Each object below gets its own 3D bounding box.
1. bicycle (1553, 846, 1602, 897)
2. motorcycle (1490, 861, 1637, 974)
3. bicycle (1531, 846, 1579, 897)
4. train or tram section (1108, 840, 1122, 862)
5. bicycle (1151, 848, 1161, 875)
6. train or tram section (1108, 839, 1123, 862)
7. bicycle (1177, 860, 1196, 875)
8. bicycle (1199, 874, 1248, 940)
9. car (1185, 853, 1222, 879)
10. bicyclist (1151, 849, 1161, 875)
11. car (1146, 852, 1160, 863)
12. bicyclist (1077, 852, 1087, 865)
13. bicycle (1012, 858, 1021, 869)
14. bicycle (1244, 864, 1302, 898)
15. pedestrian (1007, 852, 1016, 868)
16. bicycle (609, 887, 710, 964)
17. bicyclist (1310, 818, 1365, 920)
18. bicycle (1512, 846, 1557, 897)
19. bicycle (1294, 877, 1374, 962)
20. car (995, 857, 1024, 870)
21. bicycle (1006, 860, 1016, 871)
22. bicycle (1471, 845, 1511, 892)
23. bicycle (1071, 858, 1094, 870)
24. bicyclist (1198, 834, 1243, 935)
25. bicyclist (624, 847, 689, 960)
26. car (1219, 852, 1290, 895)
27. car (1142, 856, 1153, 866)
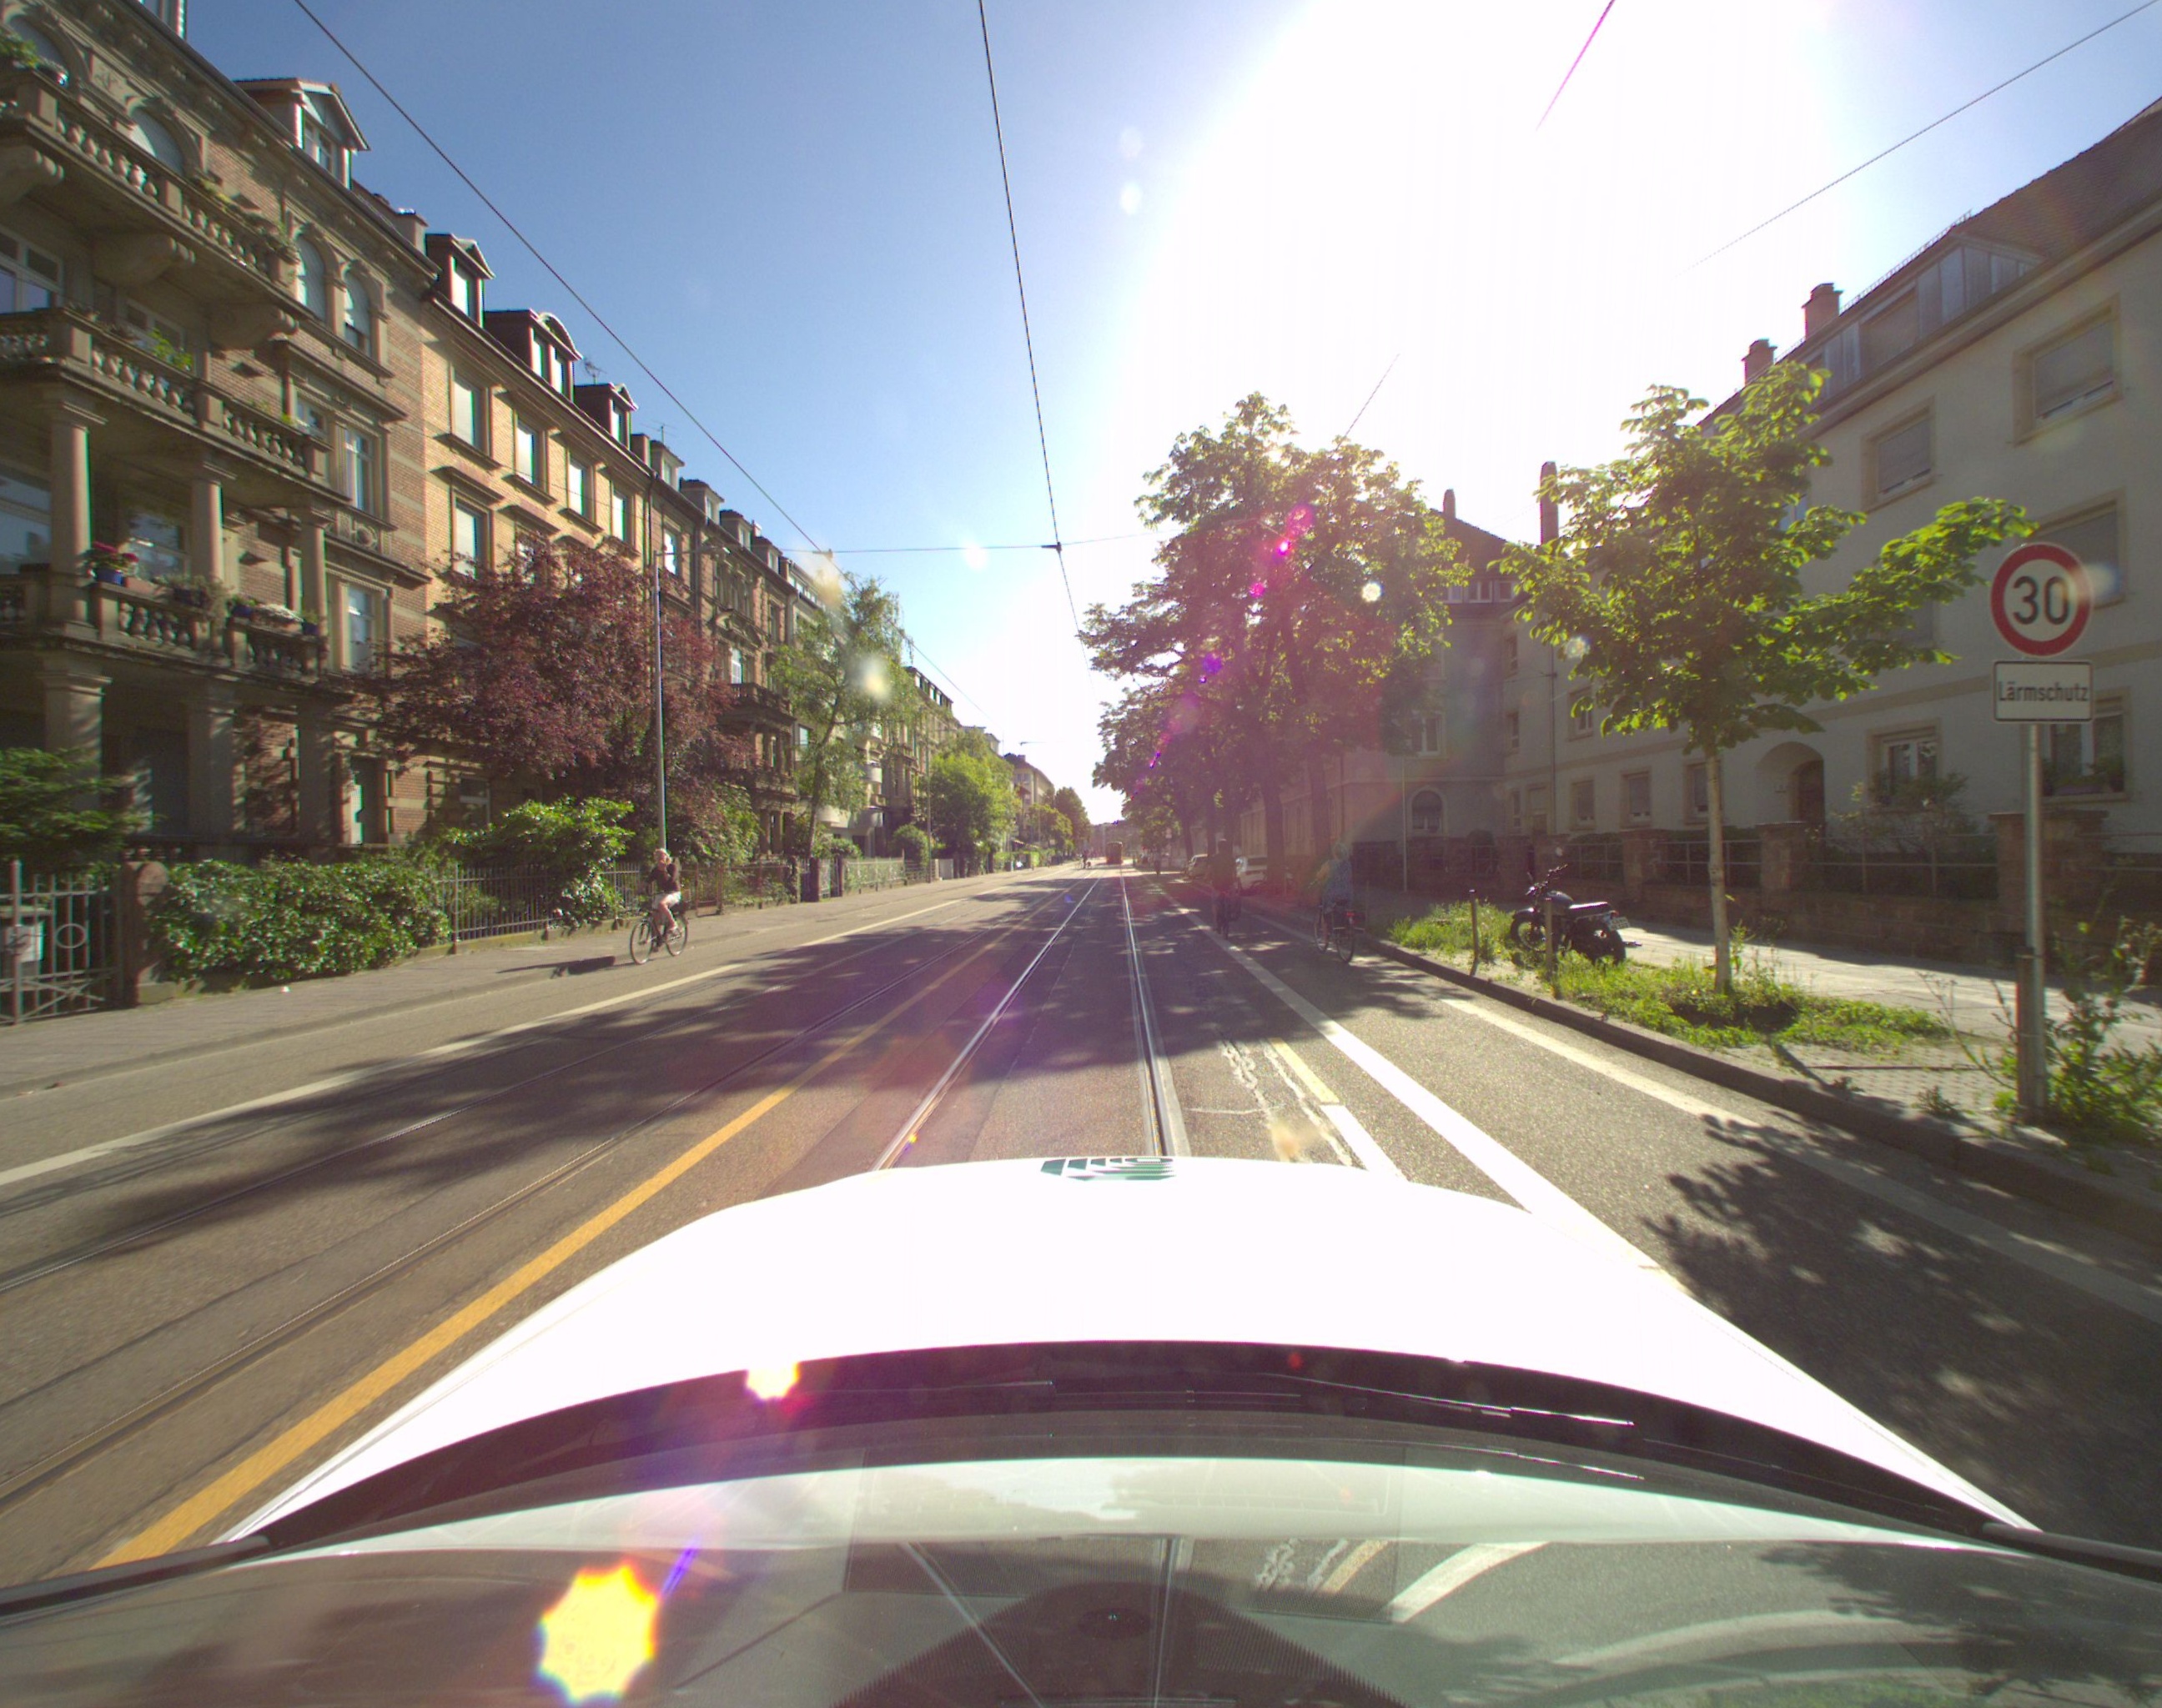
[{"bbox_3d":[12.363,0.419,20.293,0.433,1.223,1.374,0,0,3],"label":"bicycle"},{"bbox_3d":[5.847,0.711,10.002,0.494,1.190,1.859,-5,1,-5],"label":"motorcycle"},{"bbox_3d":[11.812,0.413,20.324,0.433,1.223,1.374,0,0,3],"label":"bicycle"},{"bbox_3d":[5.551,-0.508,131.819,2.145,3.431,6.615,0,0,2],"label":"train or tram section"},{"bbox_3d":[5.216,0.487,56.970,0.660,1.859,2.262,0,0,4],"label":"bicycle"},{"bbox_3d":[5.293,-0.492,125.173,2.145,3.431,6.615,0,0,2],"label":"train or tram section"},{"bbox_3d":[7.100,0.903,54.802,1.262,1.024,0.706,0,-1,10],"label":"bicycle"},{"bbox_3d":[2.642,0.951,15.207,0.689,1.112,1.720,0,0,3],"label":"bicycle"},{"bbox_3d":[7.356,0.717,49.368,1.742,1.420,4.002,-2,0,2],"label":"car"},{"bbox_3d":[5.166,0.527,56.383,0.643,1.796,0.956,0,0,2],"label":"bicyclist"},{"bbox_3d":[10.237,0.458,115.829,1.747,1.552,3.679,0,0,2],"label":"car"},{"bbox_3d":[0.107,0.480,82.994,0.766,1.291,0.737,0,0,18],"label":"bicyclist"},{"bbox_3d":[-6.459,0.975,81.417,0.634,1.069,1.822,0,0,-15],"label":"bicycle"},{"bbox_3d":[6.572,0.919,27.880,1.785,1.019,0.621,-3,0,1],"label":"bicycle"},{"bbox_3d":[-7.160,0.622,83.773,0.767,1.712,0.669,0,0,2],"label":"pedestrian"},{"bbox_3d":[-7.007,1.157,13.634,0.689,1.112,1.720,-3,0,3],"label":"bicycle"},{"bbox_3d":[3.765,0.214,11.983,0.632,1.468,0.616,0,0,2],"label":"bicyclist"},{"bbox_3d":[11.321,0.414,20.367,0.433,1.223,1.374,0,0,3],"label":"bicycle"},{"bbox_3d":[3.752,0.932,12.224,0.689,1.112,1.919,0,0,3],"label":"bicycle"},{"bbox_3d":[-8.291,1.057,94.222,1.768,1.420,3.538,0,-2,-38],"label":"car"},{"bbox_3d":[-6.914,1.115,80.433,0.633,1.069,1.823,0,0,-14],"label":"bicycle"},{"bbox_3d":[10.976,0.383,21.829,0.433,1.223,1.374,0,0,3],"label":"bicycle"},{"bbox_3d":[0.151,0.982,82.986,2.122,1.171,0.806,0,0,17],"label":"bicycle"},{"bbox_3d":[2.604,0.556,15.235,0.724,1.848,0.837,0,0,1],"label":"bicyclist"},{"bbox_3d":[-7.023,0.805,13.487,0.657,1.801,0.616,-3,-1,2],"label":"bicyclist"},{"bbox_3d":[6.442,0.676,30.722,1.623,1.436,4.663,-2,0,-1],"label":"car"},{"bbox_3d":[10.772,1.057,132.243,1.747,1.552,3.679,0,0,2],"label":"car"}]
